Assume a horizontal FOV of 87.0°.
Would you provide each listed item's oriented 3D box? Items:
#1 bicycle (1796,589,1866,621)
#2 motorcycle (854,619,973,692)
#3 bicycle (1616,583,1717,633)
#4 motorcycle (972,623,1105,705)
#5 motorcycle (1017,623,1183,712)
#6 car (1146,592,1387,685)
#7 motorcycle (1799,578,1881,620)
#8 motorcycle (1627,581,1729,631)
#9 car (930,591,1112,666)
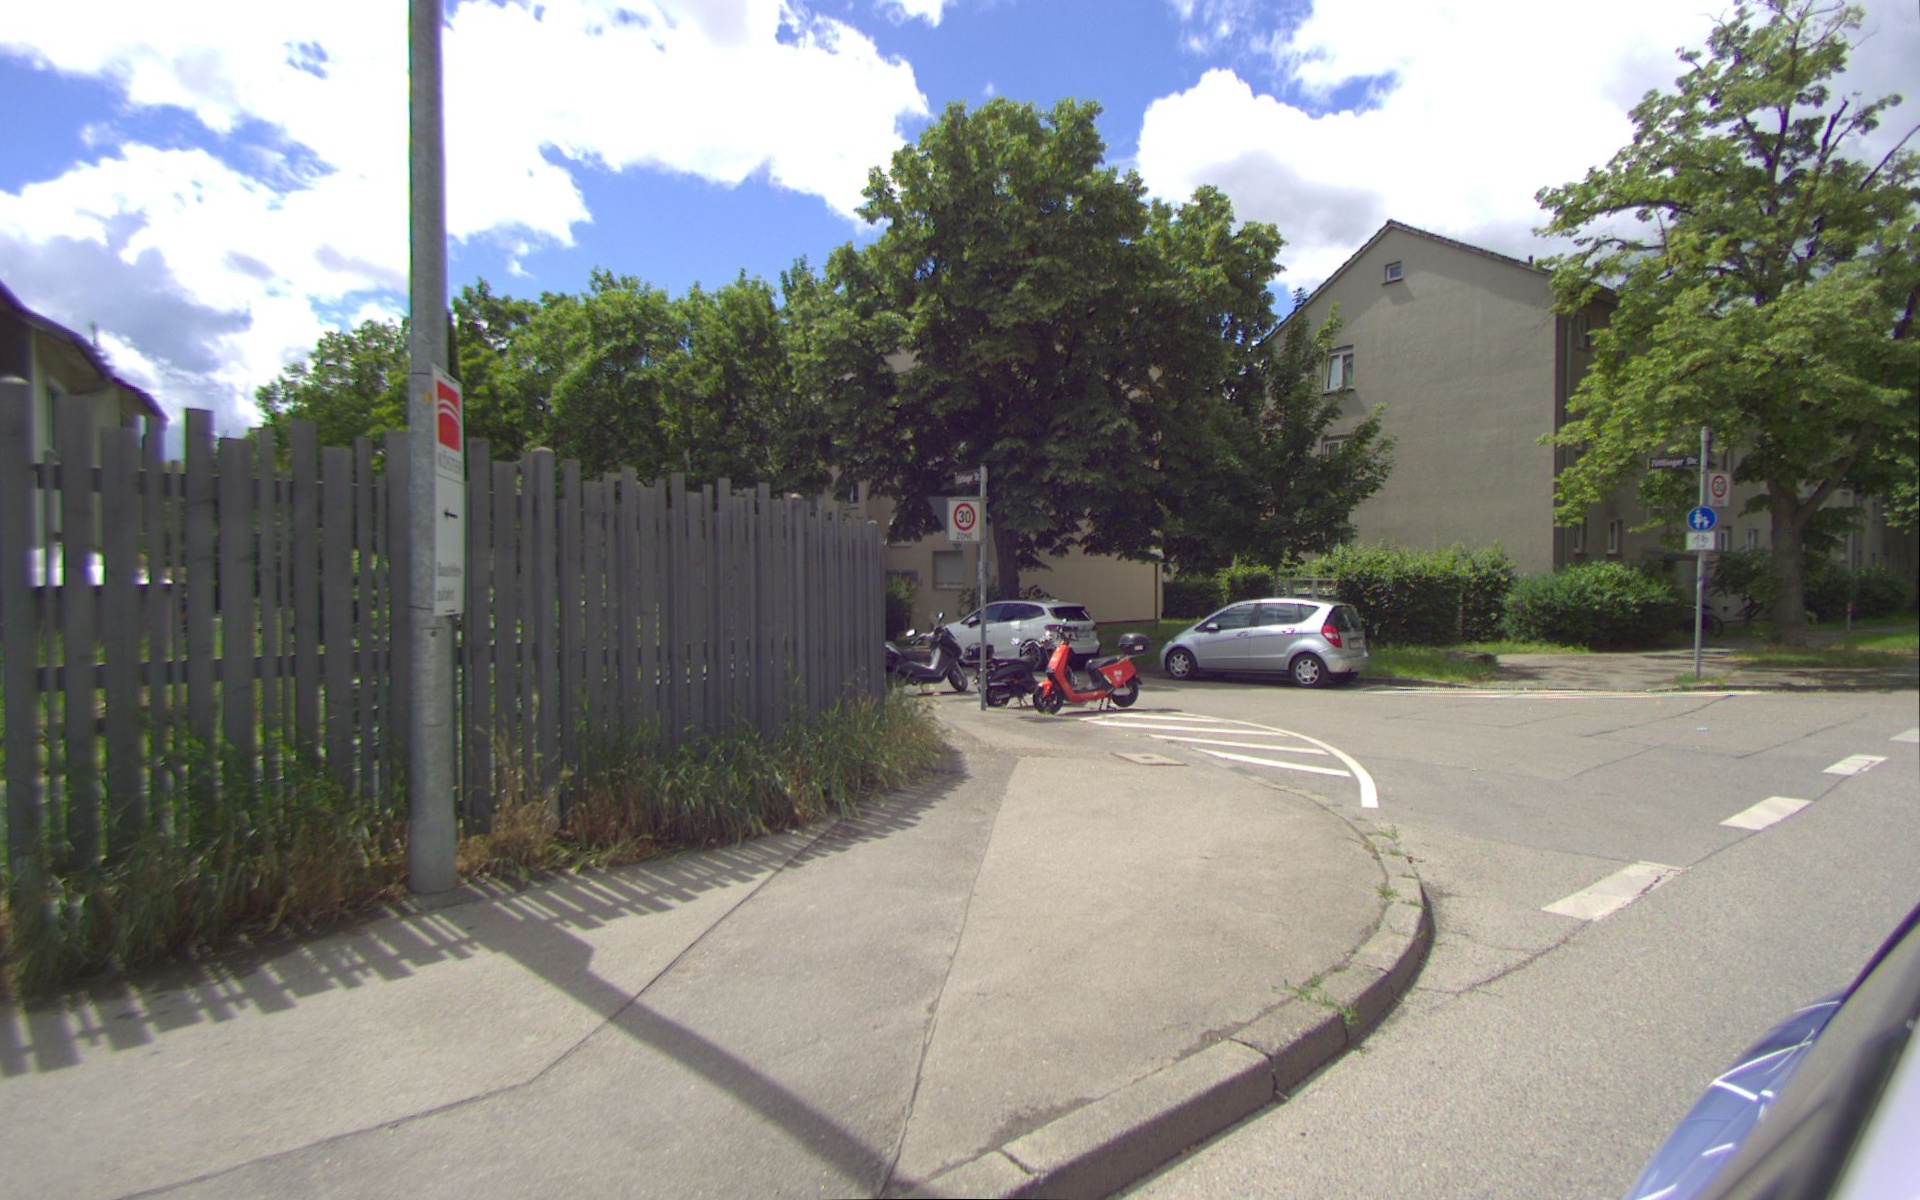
[{"bbox_3d":[30.682,0.166,35.666,0.446,1.098,1.804,0,1,-35],"label":"bicycle"},{"bbox_3d":[-0.818,0.951,17.789,1.951,1.163,0.662,-1,0,-22],"label":"motorcycle"},{"bbox_3d":[19.242,0.193,27.616,0.667,1.298,2.176,-1,2,-31],"label":"bicycle"},{"bbox_3d":[1.229,0.971,15.764,1.951,1.163,0.662,-1,0,-22],"label":"motorcycle"},{"bbox_3d":[2.071,0.957,14.864,2.374,1.163,0.662,-1,0,-22],"label":"motorcycle"},{"bbox_3d":[5.751,0.642,19.244,3.985,1.573,1.909,0,0,43],"label":"car"},{"bbox_3d":[31.491,-0.051,36.242,0.996,1.447,2.006,0,1,-29],"label":"motorcycle"},{"bbox_3d":[19.868,0.142,28.060,0.667,1.298,2.213,-1,2,-31],"label":"motorcycle"},{"bbox_3d":[1.356,0.606,23.391,4.002,1.583,1.755,0,-1,42],"label":"car"}]
